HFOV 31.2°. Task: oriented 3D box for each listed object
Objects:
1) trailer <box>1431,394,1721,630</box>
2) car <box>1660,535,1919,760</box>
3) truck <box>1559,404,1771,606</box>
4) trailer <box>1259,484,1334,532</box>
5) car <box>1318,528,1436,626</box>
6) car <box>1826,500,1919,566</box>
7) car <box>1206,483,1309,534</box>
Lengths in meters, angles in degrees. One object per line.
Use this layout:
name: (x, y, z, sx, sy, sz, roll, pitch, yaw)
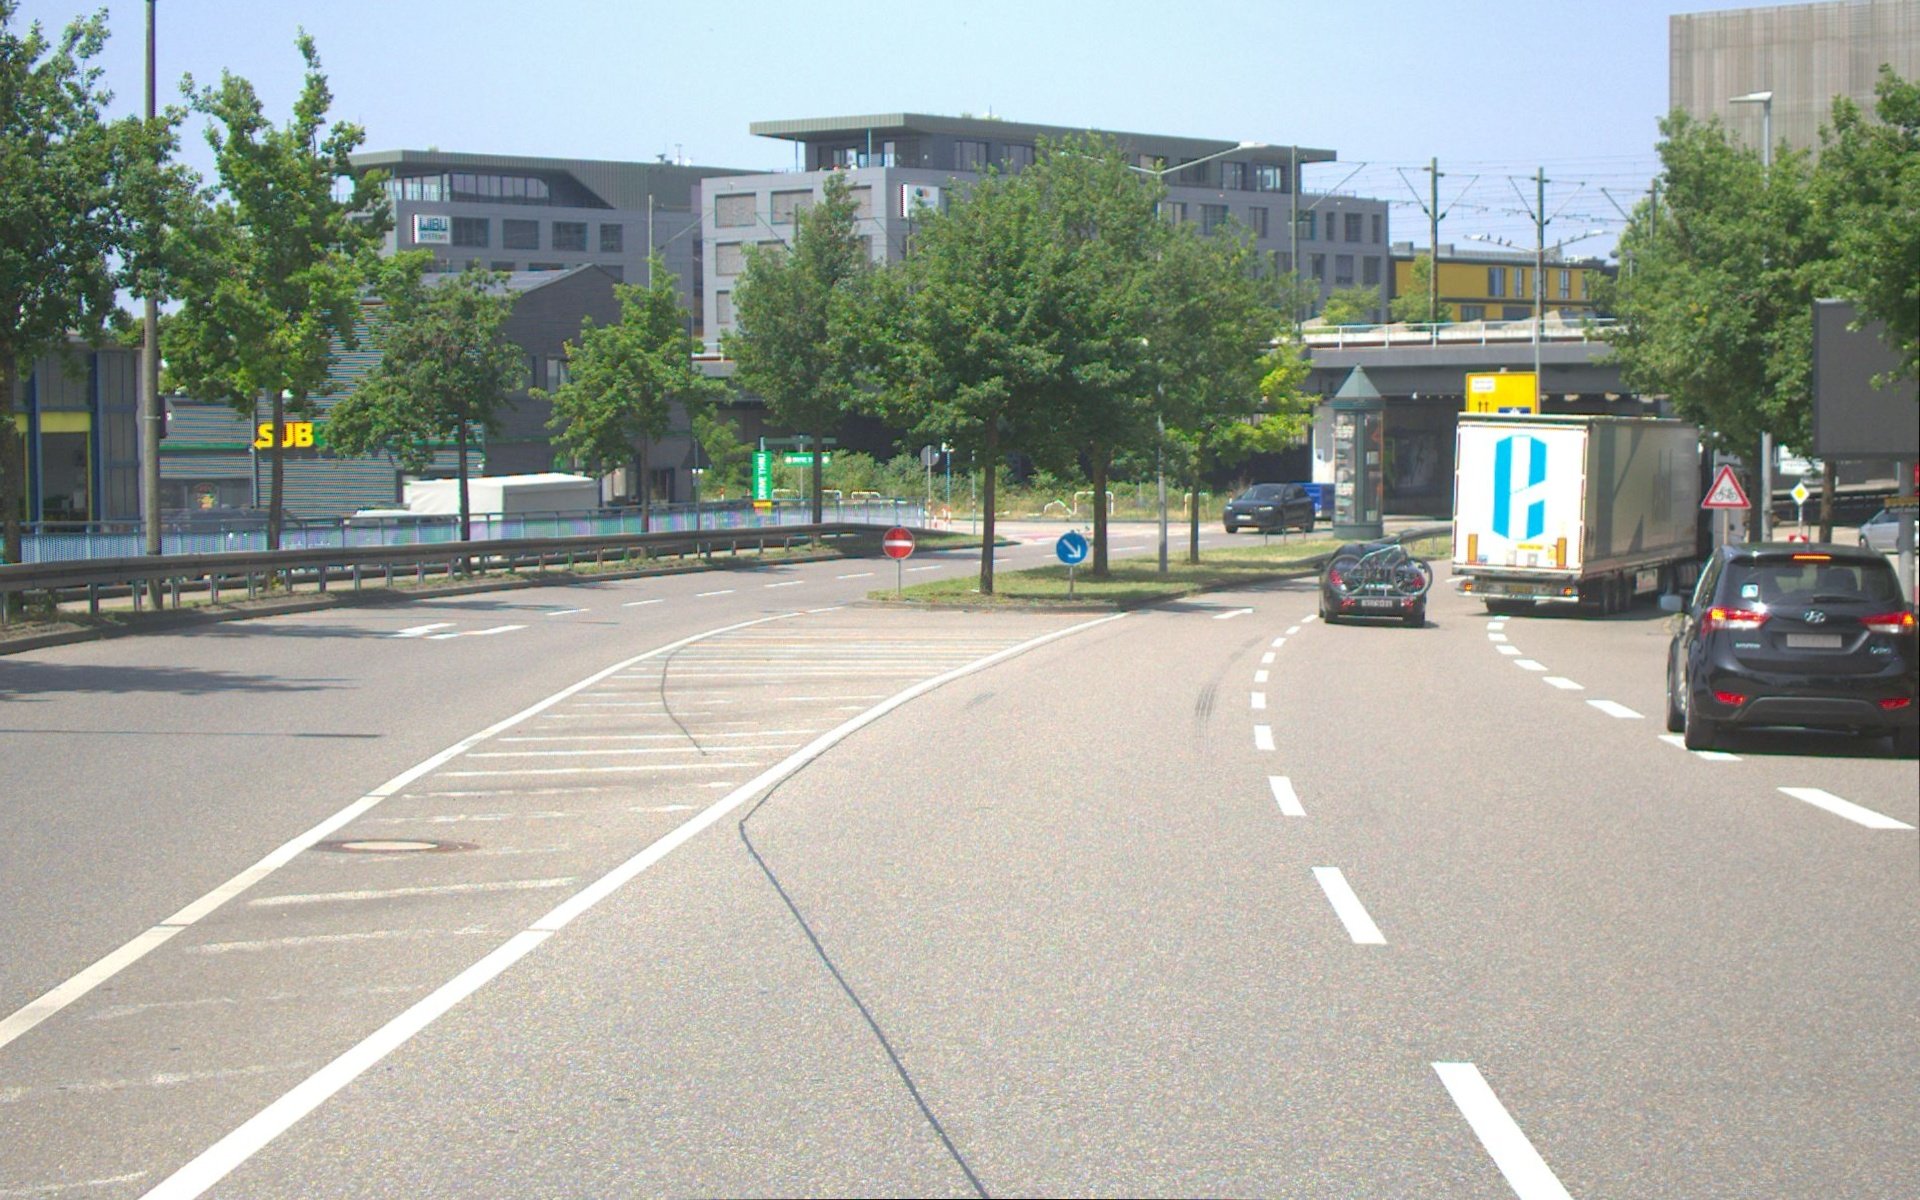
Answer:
trailer: (13.321, -1.955, 72.919, 3.082, 4.353, 14.759, 4, 3, 21)
car: (6.471, 0.320, 26.945, 1.768, 1.593, 4.076, 1, 1, 10)
truck: (16.499, -2.240, 80.170, 3.081, 4.353, 6.070, 5, 4, 27)
trailer: (11.812, -3.214, 120.513, 1.507, 1.610, 3.303, -2, 0, 27)
car: (7.379, -0.430, 60.566, 1.957, 1.628, 4.279, -1, 1, 8)
car: (29.060, -2.088, 106.205, 1.995, 2.007, 3.998, -1, 2, -45)
car: (10.152, -3.128, 117.009, 1.917, 1.646, 4.401, -1, 1, 27)
